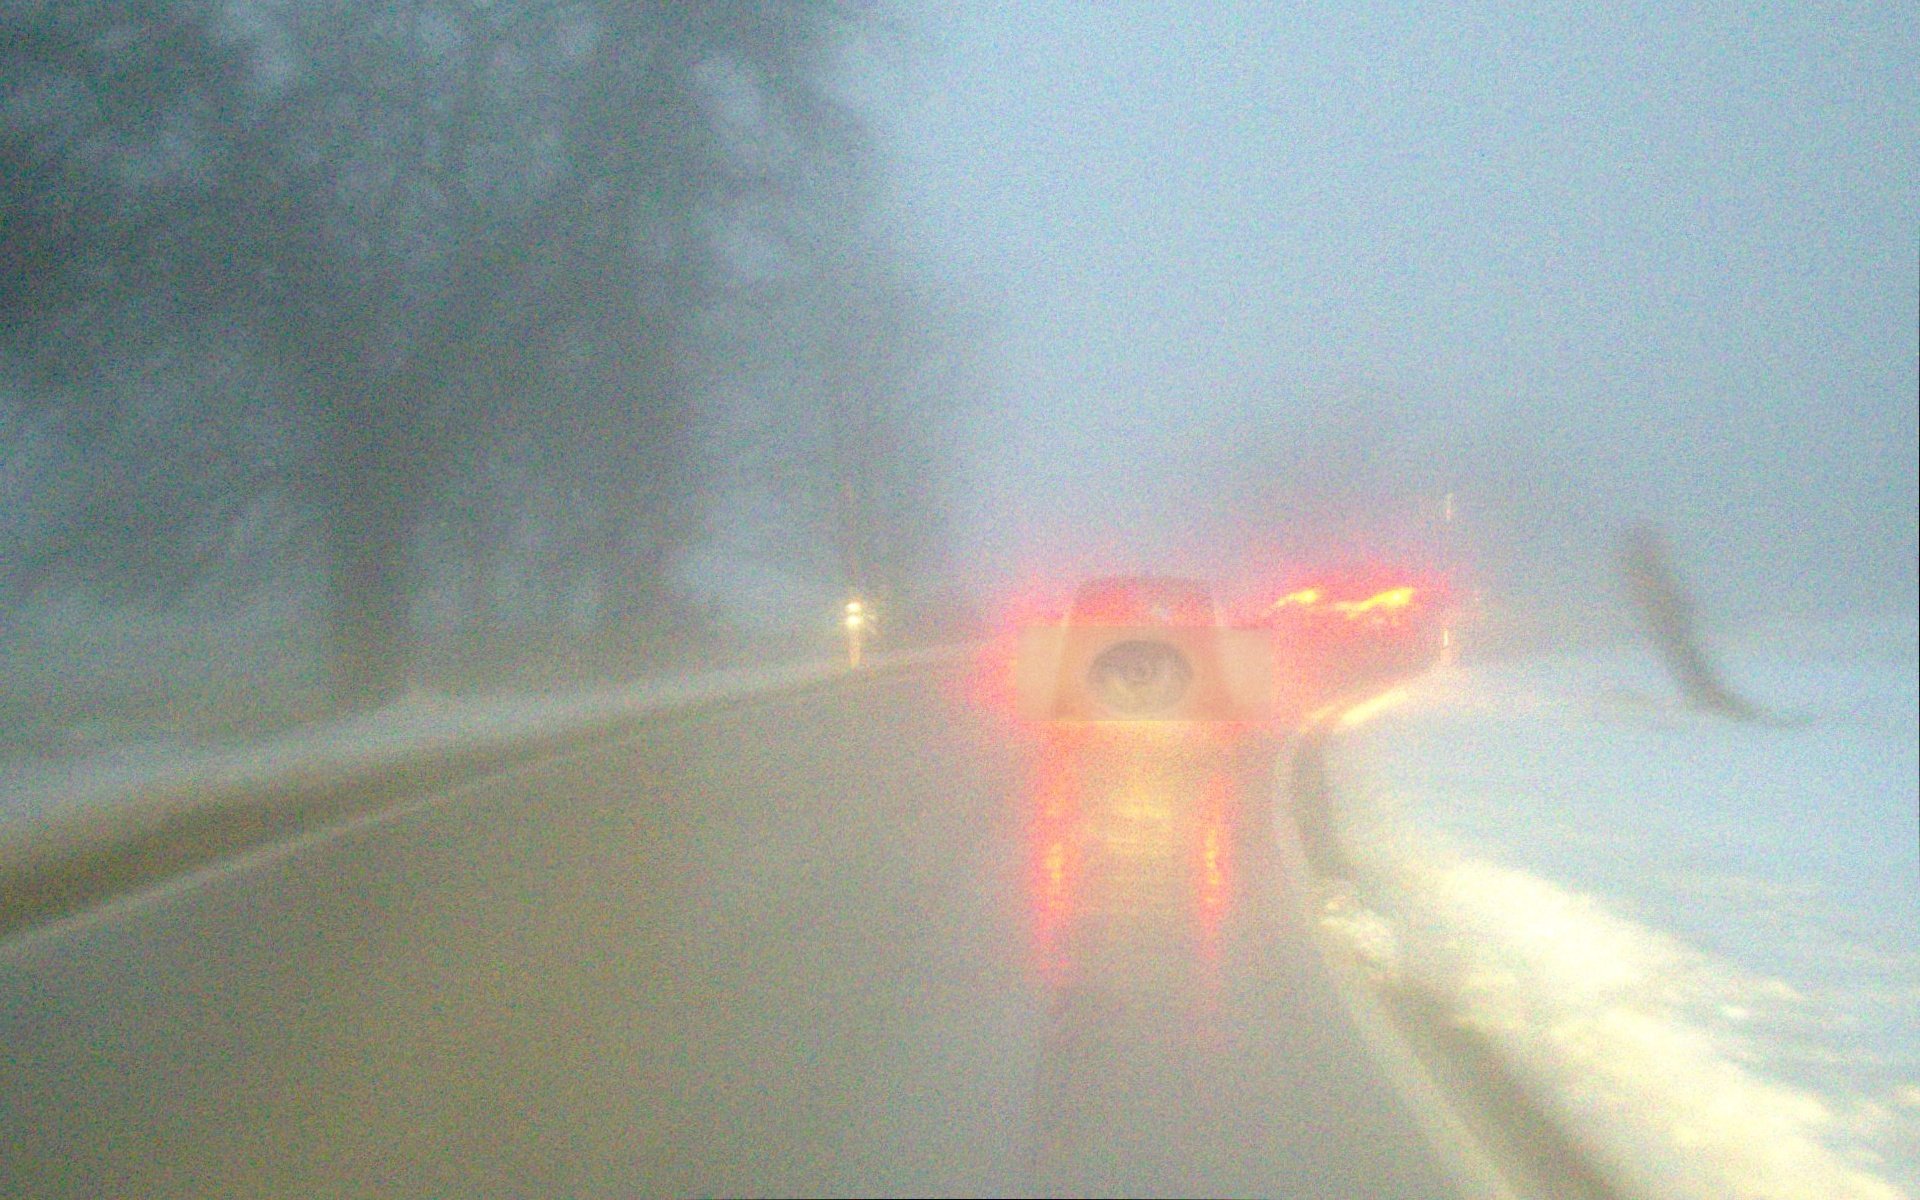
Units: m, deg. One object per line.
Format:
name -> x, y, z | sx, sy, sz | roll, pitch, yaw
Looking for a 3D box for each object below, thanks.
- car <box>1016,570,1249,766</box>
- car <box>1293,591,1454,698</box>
car -> 1.376, 0.510, 28.803 | 1.707, 1.458, 4.000 | 2, 1, 0
car -> 6.144, 0.631, 50.846 | 1.481, 1.503, 3.049 | 0, 0, 25
